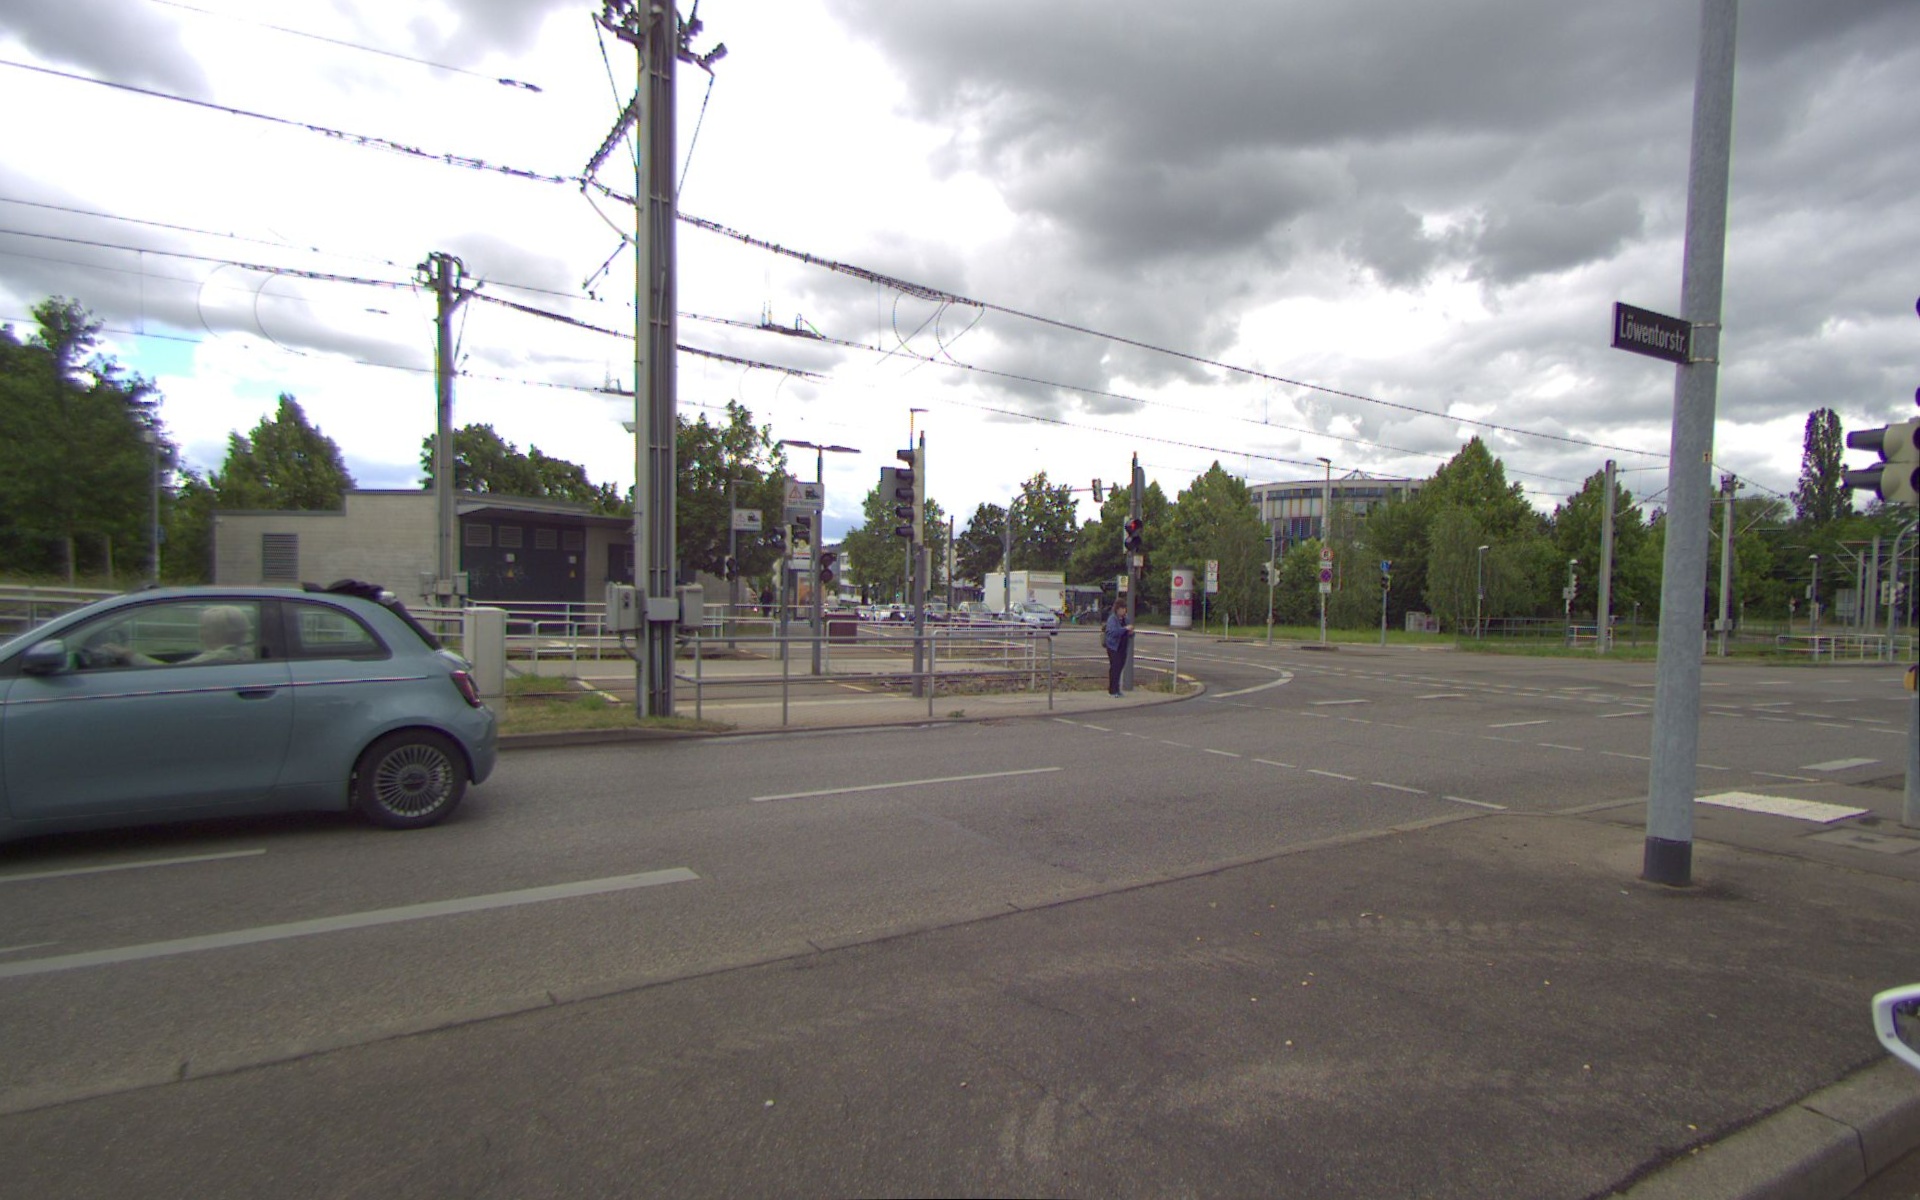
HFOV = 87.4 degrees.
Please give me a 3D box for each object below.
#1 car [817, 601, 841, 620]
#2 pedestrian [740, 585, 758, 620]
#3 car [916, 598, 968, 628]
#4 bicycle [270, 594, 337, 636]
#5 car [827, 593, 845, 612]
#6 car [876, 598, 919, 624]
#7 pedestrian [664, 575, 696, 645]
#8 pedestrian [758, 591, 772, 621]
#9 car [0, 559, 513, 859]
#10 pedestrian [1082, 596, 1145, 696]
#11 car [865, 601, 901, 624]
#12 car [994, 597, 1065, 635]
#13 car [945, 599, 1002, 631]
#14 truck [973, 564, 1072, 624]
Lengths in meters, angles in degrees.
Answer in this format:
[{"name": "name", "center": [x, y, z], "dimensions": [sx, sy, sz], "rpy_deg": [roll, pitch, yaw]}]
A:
[{"name": "car", "center": [-13.070, 1.043, 99.870], "dimensions": [1.869, 1.805, 3.988], "rpy_deg": [1, 0, -14]}, {"name": "pedestrian", "center": [-9.602, 0.109, 45.726], "dimensions": [0.633, 1.557, 0.521], "rpy_deg": [2, 0, -2]}, {"name": "car", "center": [-1.068, 0.751, 58.037], "dimensions": [1.776, 1.617, 3.982], "rpy_deg": [2, 0, -20]}, {"name": "bicycle", "center": [-17.401, 0.382, 26.621], "dimensions": [1.778, 1.045, 0.536], "rpy_deg": [2, 0, 21]}, {"name": "car", "center": [-14.621, 0.275, 118.107], "dimensions": [1.964, 2.218, 5.800], "rpy_deg": [1, 0, -9]}, {"name": "car", "center": [-4.179, 0.696, 66.491], "dimensions": [1.776, 1.617, 3.982], "rpy_deg": [2, 0, -20]}, {"name": "pedestrian", "center": [-7.091, 0.250, 25.465], "dimensions": [0.700, 1.751, 0.674], "rpy_deg": [2, 0, -19]}, {"name": "pedestrian", "center": [-9.137, 0.271, 47.135], "dimensions": [0.592, 1.377, 0.615], "rpy_deg": [2, 0, -11]}, {"name": "car", "center": [-4.867, 0.570, 6.263], "dimensions": [3.562, 1.548, 1.746], "rpy_deg": [2, 0, -33]}, {"name": "pedestrian", "center": [2.454, 0.722, 16.055], "dimensions": [0.712, 1.557, 0.630], "rpy_deg": [2, 0, -33]}, {"name": "car", "center": [-5.769, 0.914, 74.897], "dimensions": [1.775, 1.617, 3.985], "rpy_deg": [2, 0, -17]}, {"name": "car", "center": [3.193, 0.725, 46.897], "dimensions": [1.848, 1.617, 3.982], "rpy_deg": [2, 0, -20]}, {"name": "car", "center": [0.663, 0.785, 53.864], "dimensions": [1.776, 1.617, 3.982], "rpy_deg": [2, 0, -20]}, {"name": "truck", "center": [3.870, -0.362, 65.394], "dimensions": [2.971, 3.580, 9.240], "rpy_deg": [1, 0, -20]}]
